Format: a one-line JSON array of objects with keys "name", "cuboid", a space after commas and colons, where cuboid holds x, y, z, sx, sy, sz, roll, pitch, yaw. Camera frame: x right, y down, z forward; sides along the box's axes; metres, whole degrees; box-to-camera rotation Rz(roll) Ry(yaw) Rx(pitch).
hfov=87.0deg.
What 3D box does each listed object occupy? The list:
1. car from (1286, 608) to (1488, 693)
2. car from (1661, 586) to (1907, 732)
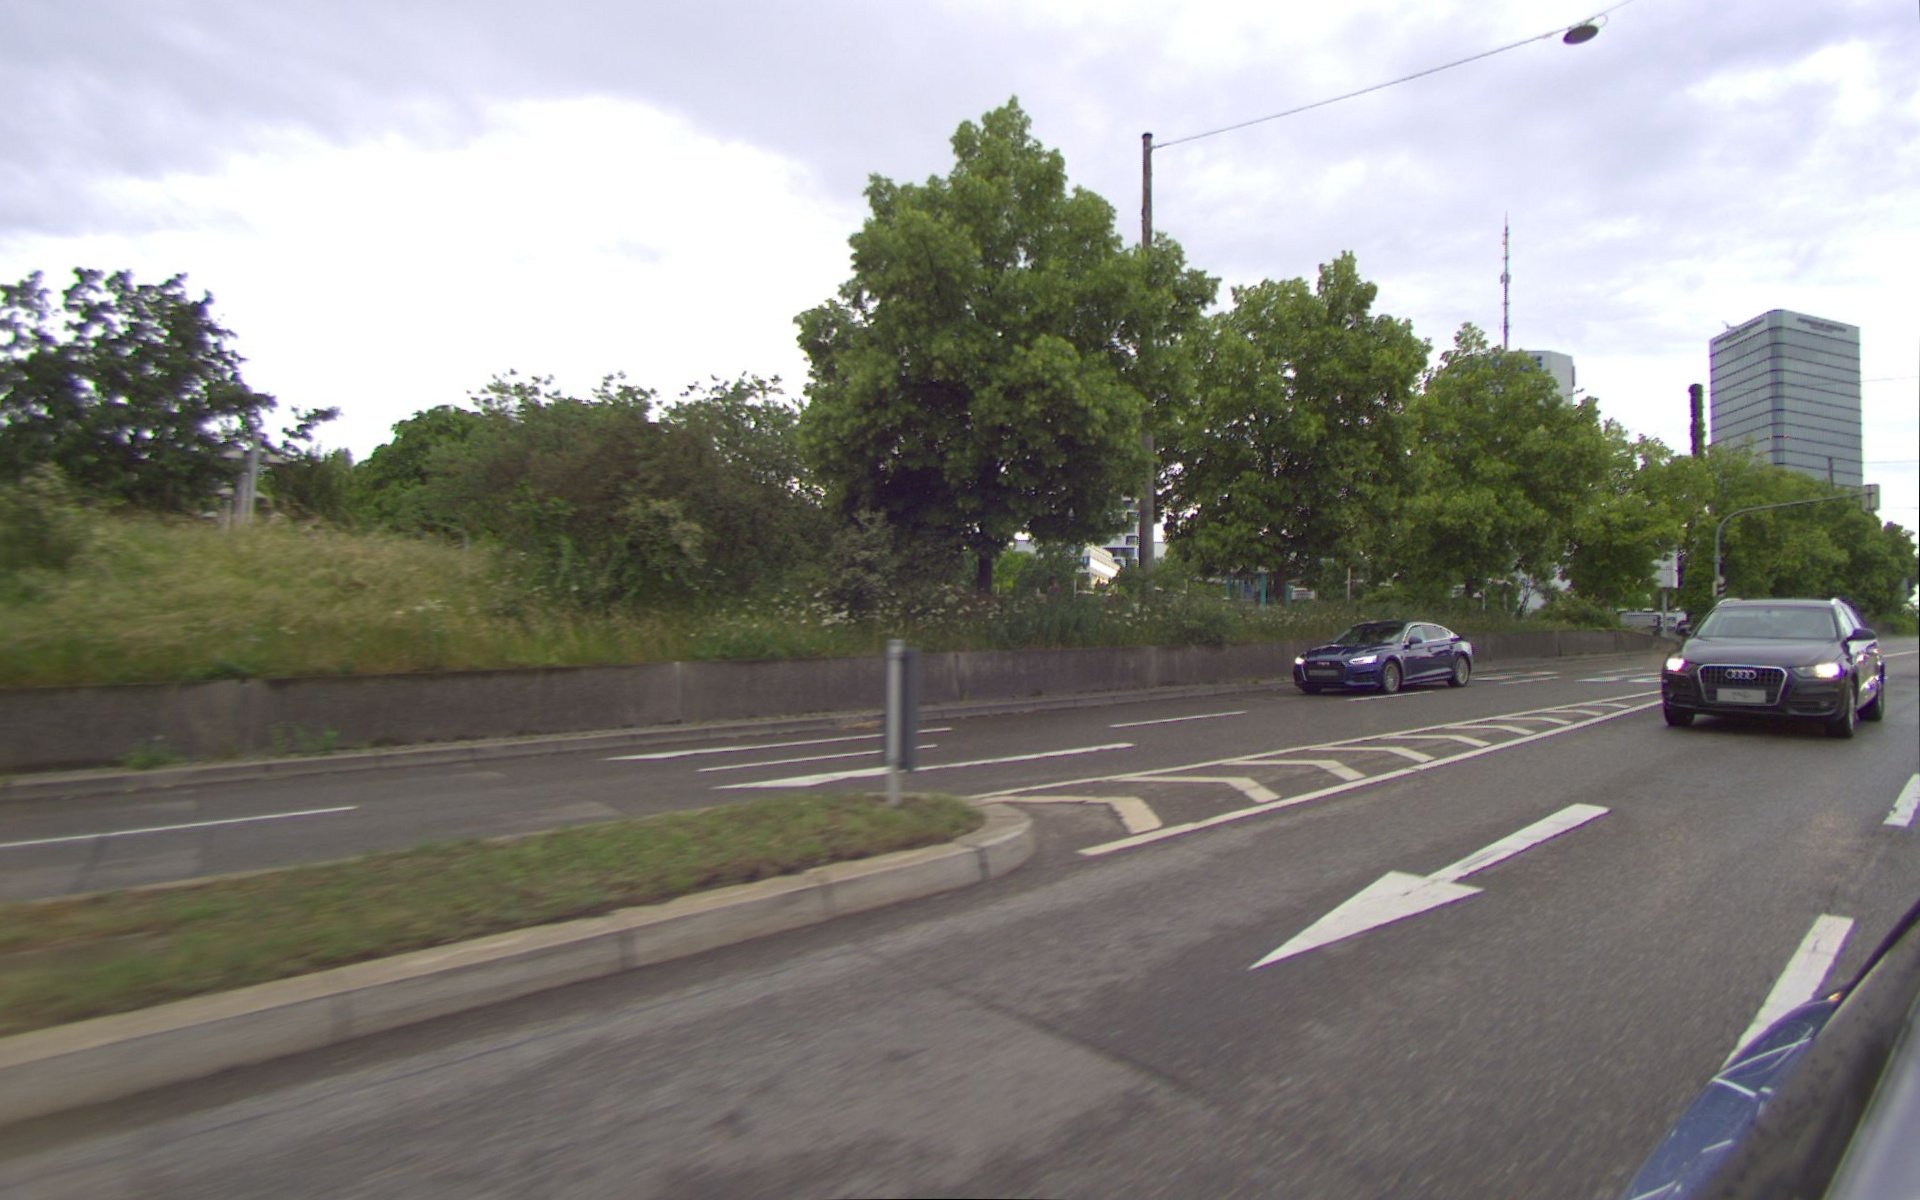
[{"name": "car", "cuboid": [8.488, 0.928, 19.987, 4.270, 1.444, 1.875, -1, -1, -39]}, {"name": "car", "cuboid": [10.526, 0.657, 12.825, 4.054, 1.553, 1.728, 0, -2, -41]}]
